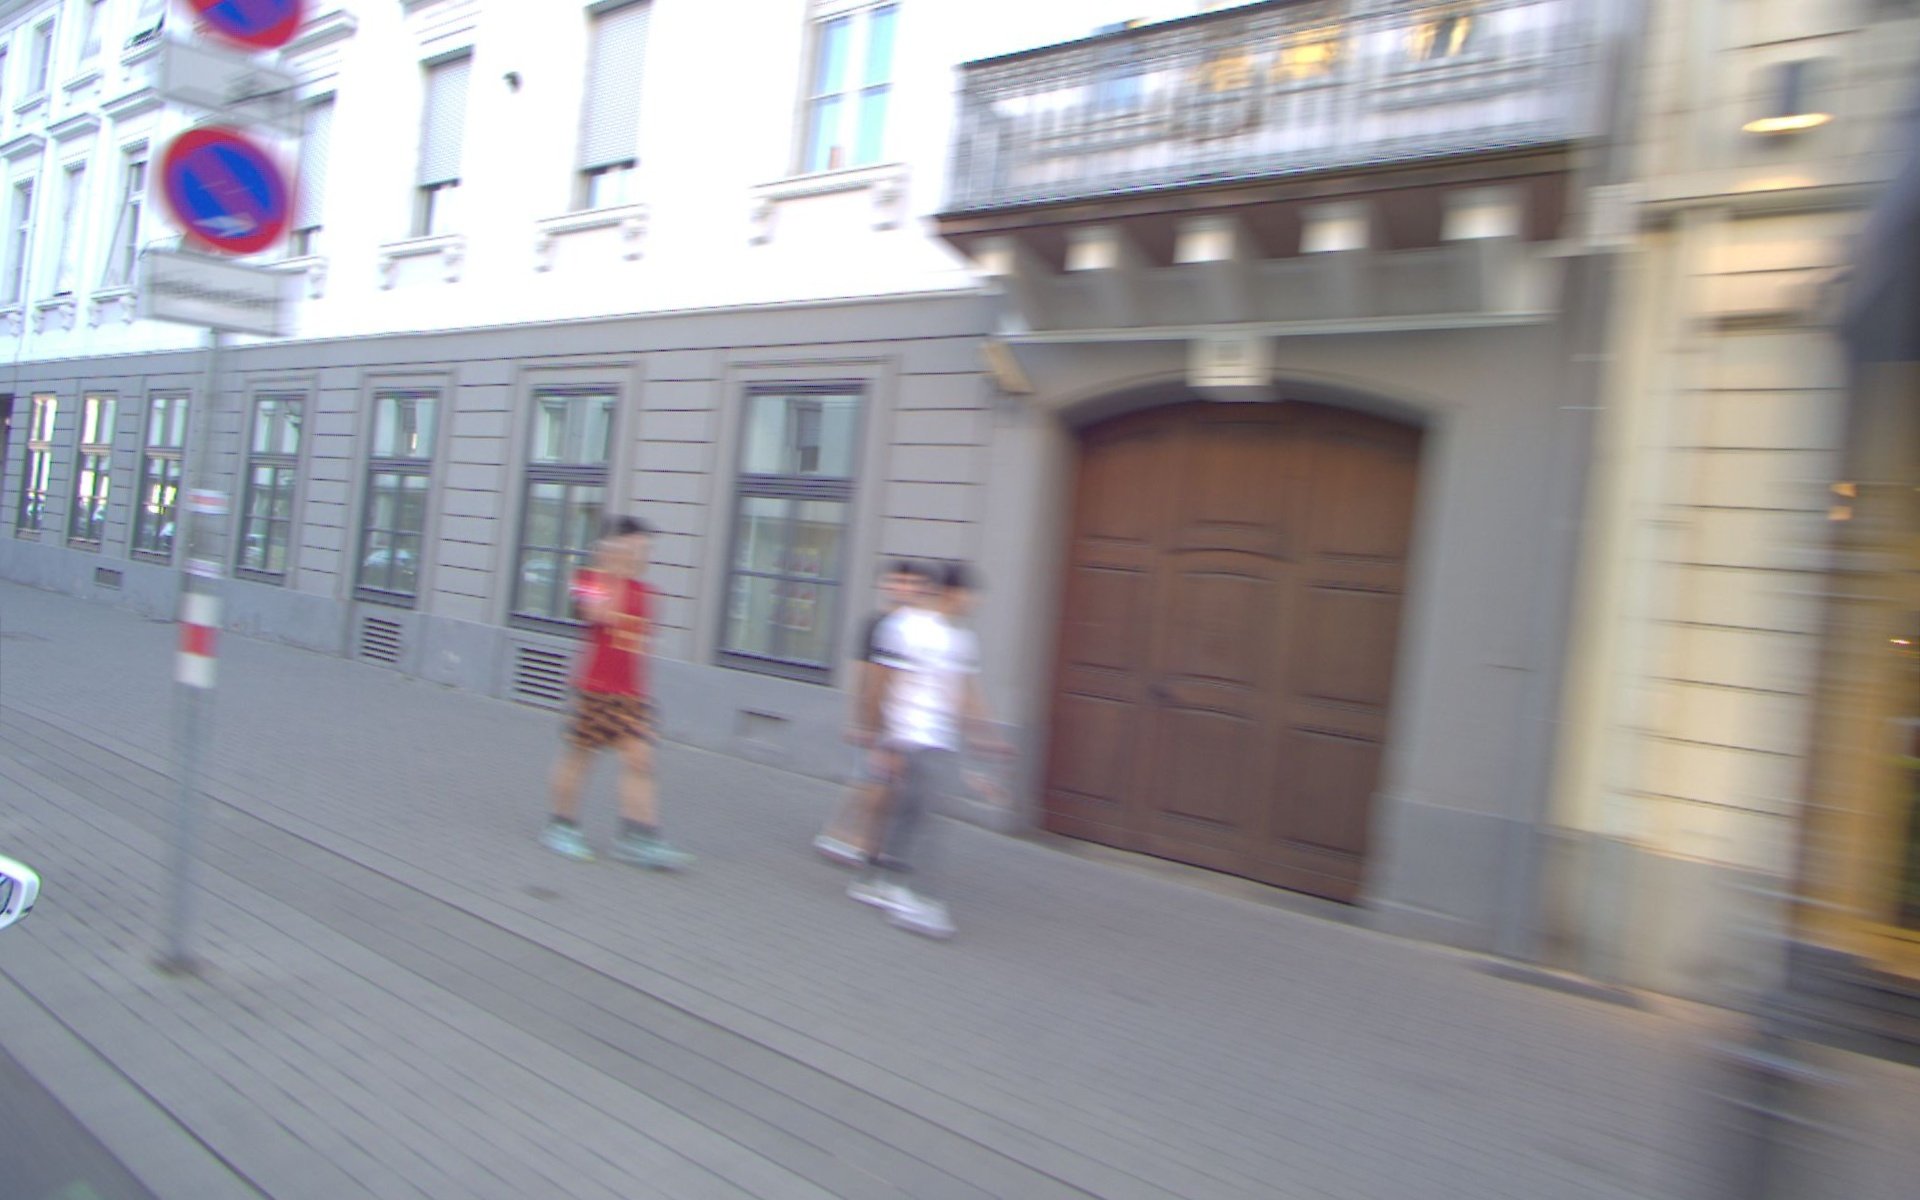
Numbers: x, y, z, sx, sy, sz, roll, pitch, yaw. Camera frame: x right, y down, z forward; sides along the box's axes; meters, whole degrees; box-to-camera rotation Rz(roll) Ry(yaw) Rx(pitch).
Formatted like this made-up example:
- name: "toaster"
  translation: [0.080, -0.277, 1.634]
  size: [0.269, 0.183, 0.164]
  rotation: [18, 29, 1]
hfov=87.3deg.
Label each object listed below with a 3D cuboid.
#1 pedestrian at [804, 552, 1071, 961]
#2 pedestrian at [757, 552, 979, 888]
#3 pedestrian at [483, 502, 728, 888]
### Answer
- name: "pedestrian"
  translation: [-0.104, 0.709, 4.972]
  size: [0.867, 1.751, 0.748]
  rotation: [7, 0, 35]
- name: "pedestrian"
  translation: [-0.535, 0.659, 5.913]
  size: [0.859, 1.751, 0.714]
  rotation: [7, 0, 34]
- name: "pedestrian"
  translation: [-1.864, 0.455, 5.293]
  size: [0.898, 1.811, 0.621]
  rotation: [7, 0, 33]
